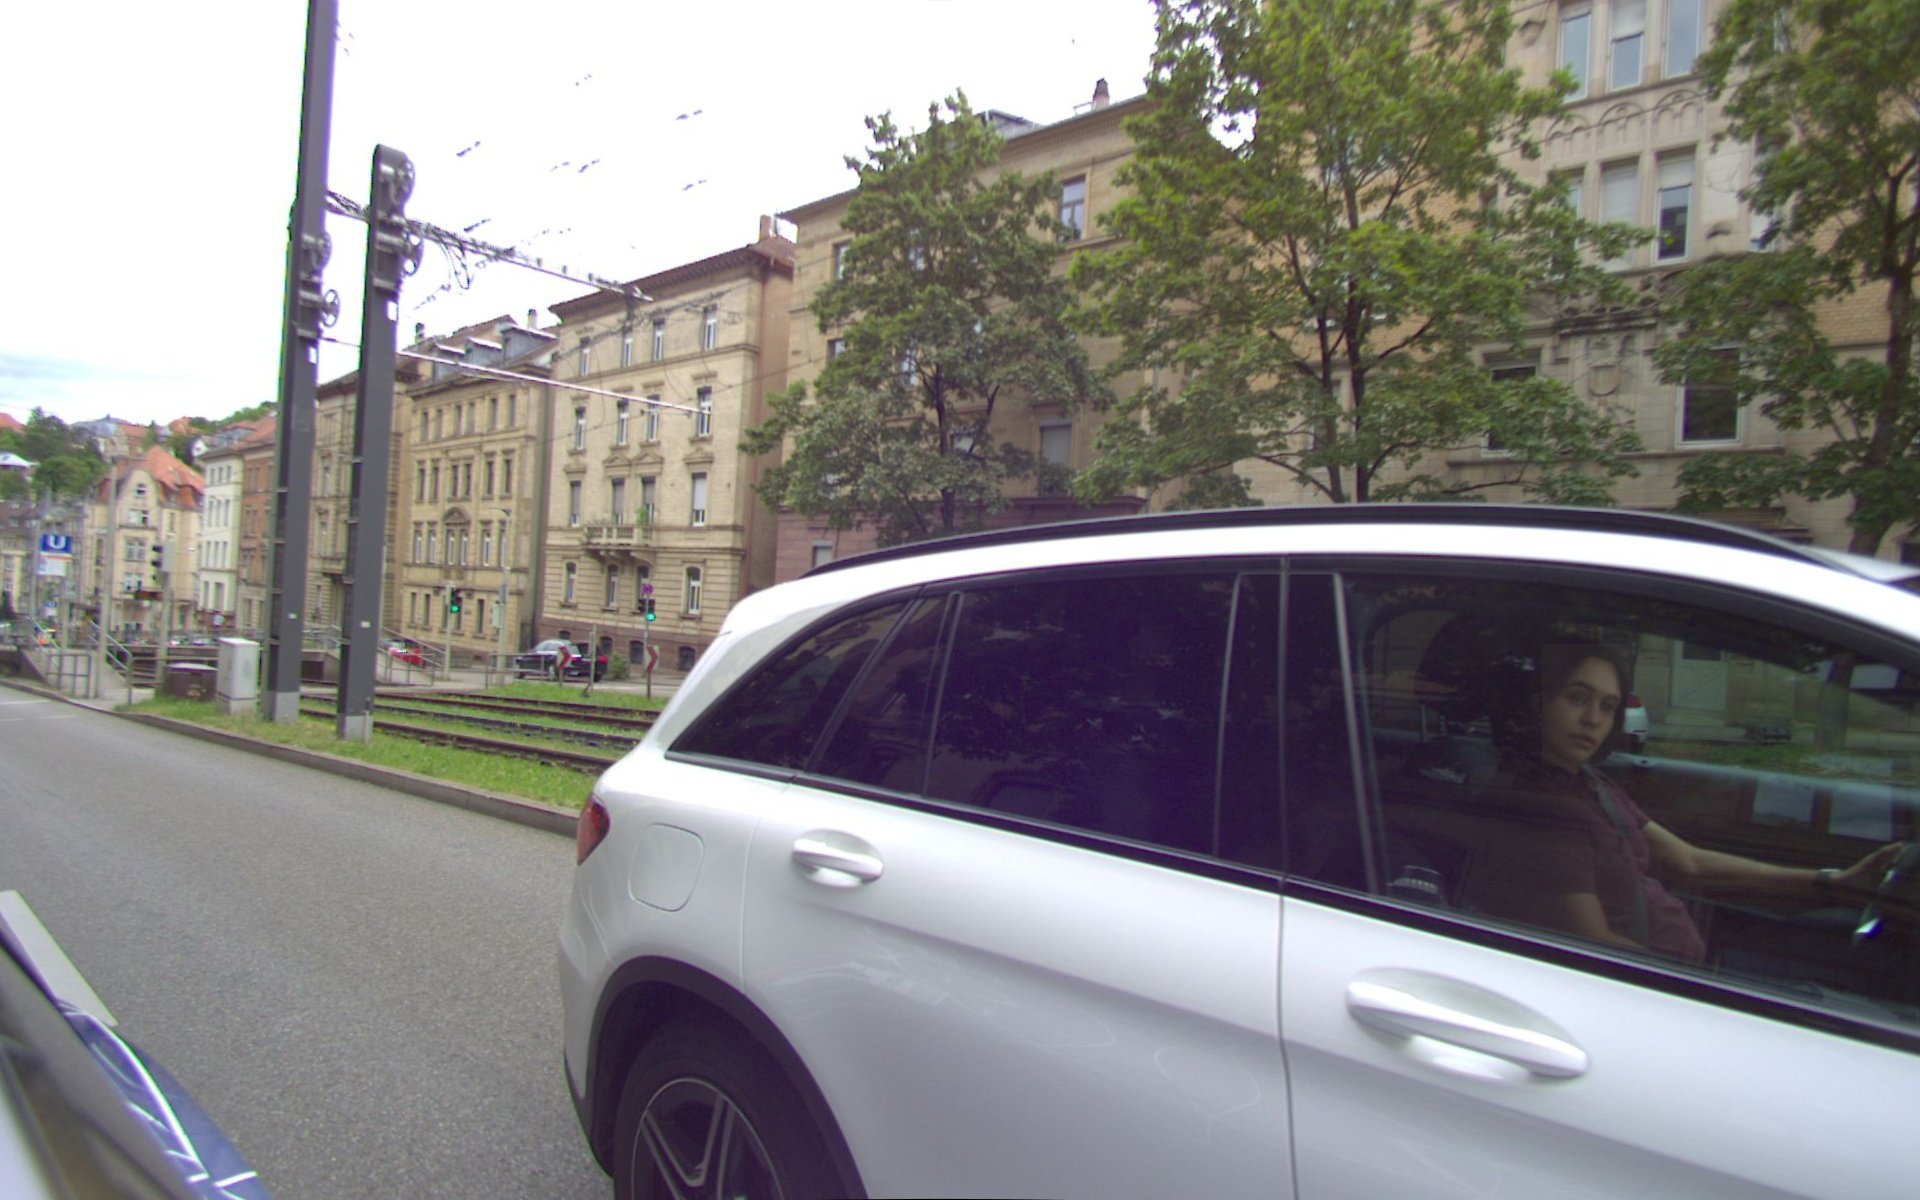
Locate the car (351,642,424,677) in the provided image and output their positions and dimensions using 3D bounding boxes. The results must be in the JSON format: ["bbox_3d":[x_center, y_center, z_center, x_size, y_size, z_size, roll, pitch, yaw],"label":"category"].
[{"bbox_3d":[-23.642,2.449,41.749,3.654,1.388,1.559,-2,-4,43],"label":"car"}]

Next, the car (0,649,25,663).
[{"bbox_3d":[-113.669,6.703,121.296,4.411,1.658,1.843,-2,-4,40],"label":"car"}]

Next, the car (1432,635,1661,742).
[{"bbox_3d":[8.939,1.292,15.852,1.766,1.433,3.988,0,-2,10],"label":"car"}]

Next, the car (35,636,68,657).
[{"bbox_3d":[-99.548,5.106,110.856,5.452,2.322,1.972,-2,-4,41],"label":"car"}]

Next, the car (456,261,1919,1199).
[{"bbox_3d":[1.205,0.600,1.510,4.667,1.679,1.817,-2,-2,40],"label":"car"}]

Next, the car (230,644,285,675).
[{"bbox_3d":[-43.818,3.684,63.139,4.136,1.874,1.829,-2,-4,41],"label":"car"}]

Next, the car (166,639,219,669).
[{"bbox_3d":[-47.084,3.291,62.071,4.575,1.749,1.691,-2,-4,42],"label":"car"}]

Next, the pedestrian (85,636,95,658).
[{"bbox_3d":[-62.945,3.385,73.213,0.540,1.574,0.457,-3,-4,40],"label":"pedestrian"}]

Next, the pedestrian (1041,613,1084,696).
[{"bbox_3d":[2.576,1.368,25.508,0.796,2.029,0.713,-3,-4,39],"label":"pedestrian"}]

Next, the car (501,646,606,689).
[{"bbox_3d":[-14.666,2.401,36.383,4.750,1.439,1.728,-3,-5,45],"label":"car"}]

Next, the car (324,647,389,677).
[{"bbox_3d":[-30.952,3.154,51.851,4.217,1.458,1.660,-2,-5,42],"label":"car"}]

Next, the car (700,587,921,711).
[{"bbox_3d":[-3.944,1.261,25.493,2.362,2.720,6.528,5,-5,-40],"label":"car"}]

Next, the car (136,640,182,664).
[{"bbox_3d":[-59.649,3.894,75.352,3.998,1.692,1.915,-2,-5,41],"label":"car"}]

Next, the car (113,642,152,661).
[{"bbox_3d":[-69.988,4.374,85.610,3.998,1.540,1.858,-3,-5,41],"label":"car"}]
